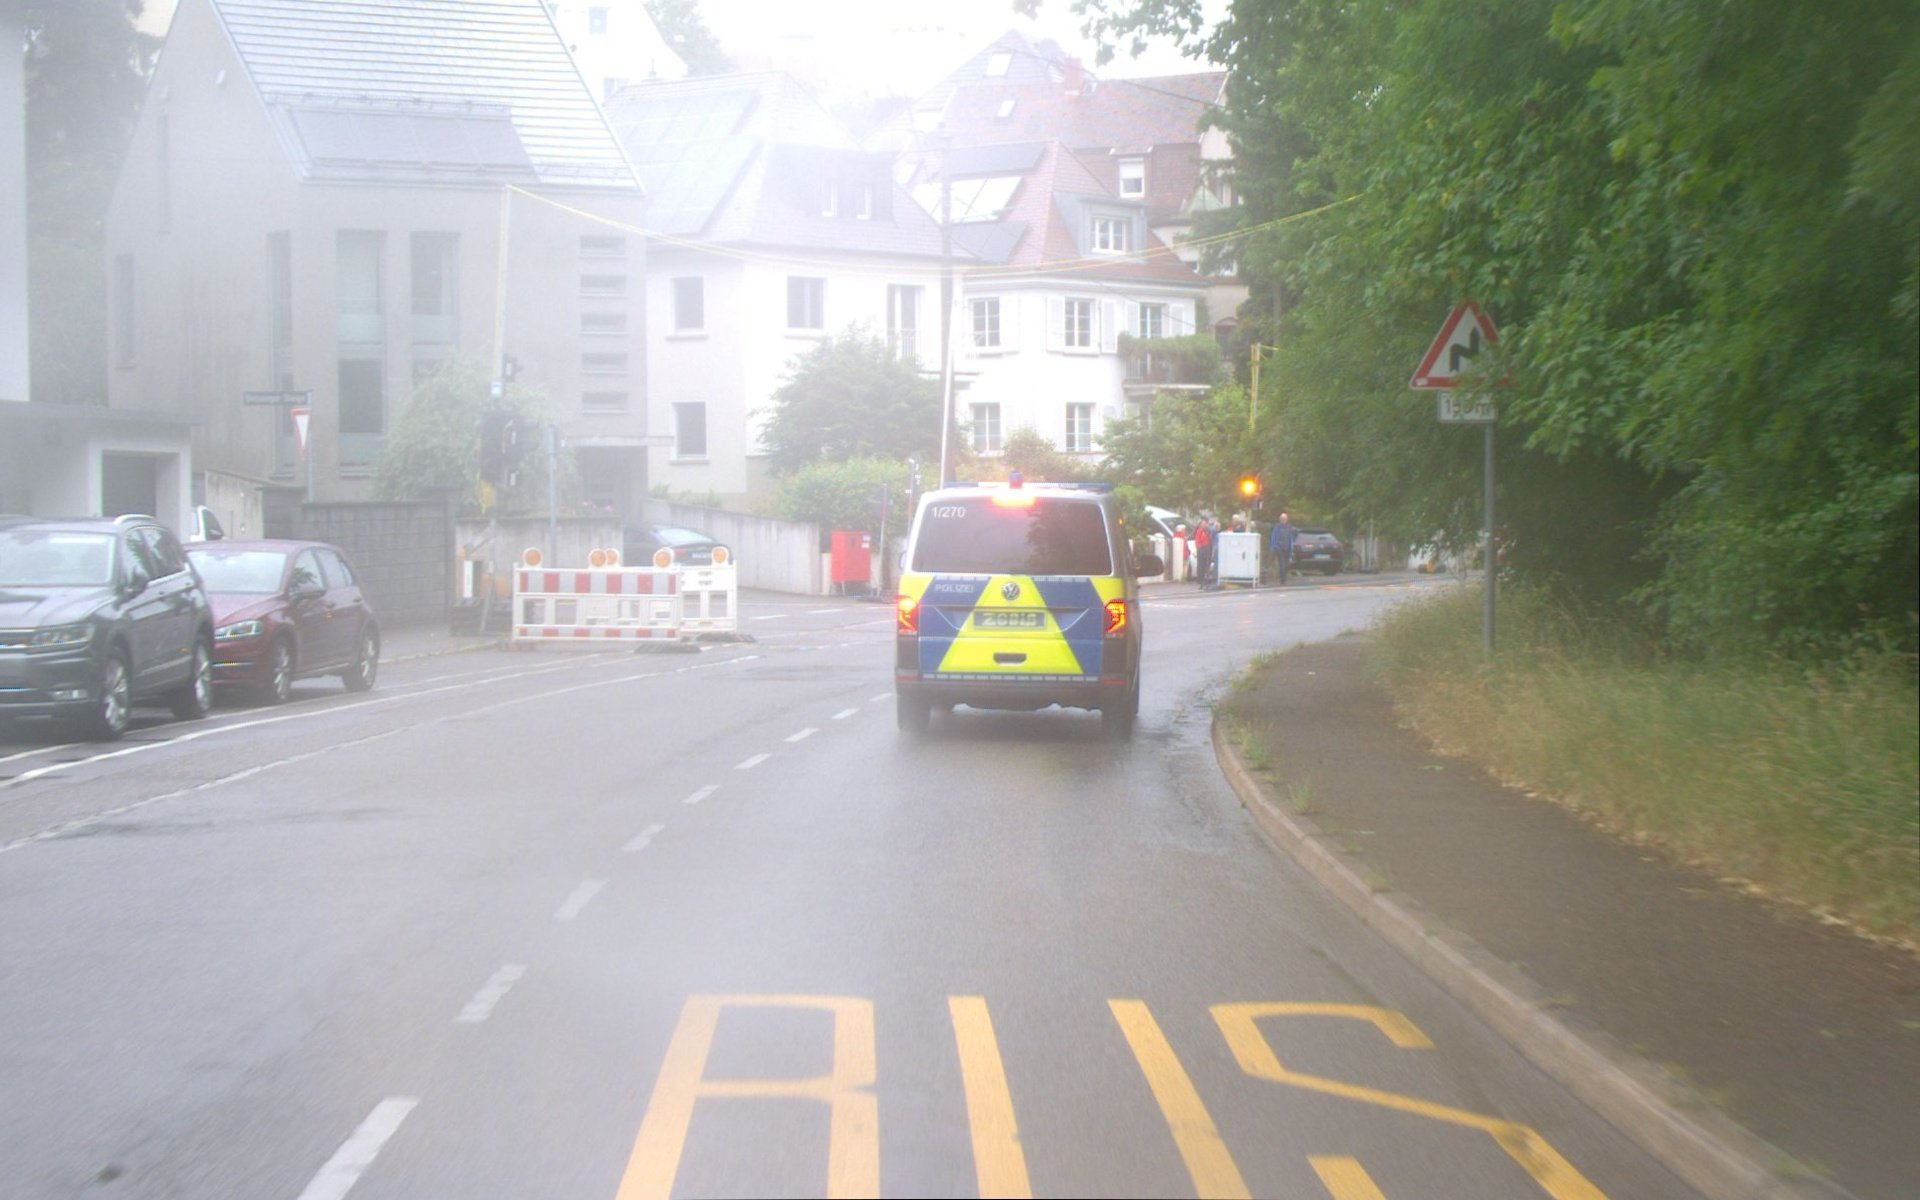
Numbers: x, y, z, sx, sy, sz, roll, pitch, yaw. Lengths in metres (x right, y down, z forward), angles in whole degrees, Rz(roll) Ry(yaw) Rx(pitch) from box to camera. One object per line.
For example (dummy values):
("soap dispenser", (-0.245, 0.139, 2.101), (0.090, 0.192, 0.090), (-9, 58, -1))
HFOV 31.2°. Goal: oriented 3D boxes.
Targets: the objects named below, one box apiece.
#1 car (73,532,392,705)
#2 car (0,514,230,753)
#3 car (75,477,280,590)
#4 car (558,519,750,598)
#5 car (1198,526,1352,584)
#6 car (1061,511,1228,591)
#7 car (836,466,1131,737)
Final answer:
("car", (-6.604, 0.117, 31.649), (1.617, 1.435, 4.229), (1, 2, 7))
("car", (-6.963, 0.193, 26.241), (1.754, 1.653, 4.405), (-1, 1, 1))
("car", (-10.472, -0.893, 46.245), (1.776, 1.459, 3.616), (0, 1, 3))
("car", (-6.049, -0.838, 67.554), (1.834, 1.438, 3.999), (0, 2, -39))
("car", (9.112, -1.313, 99.535), (3.993, 1.481, 1.757), (3, 0, 29))
("car", (4.875, -1.304, 90.841), (3.994, 2.007, 1.827), (2, 1, 30))
("car", (0.103, -0.053, 28.200), (1.993, 2.006, 4.403), (-1, 2, -5))
